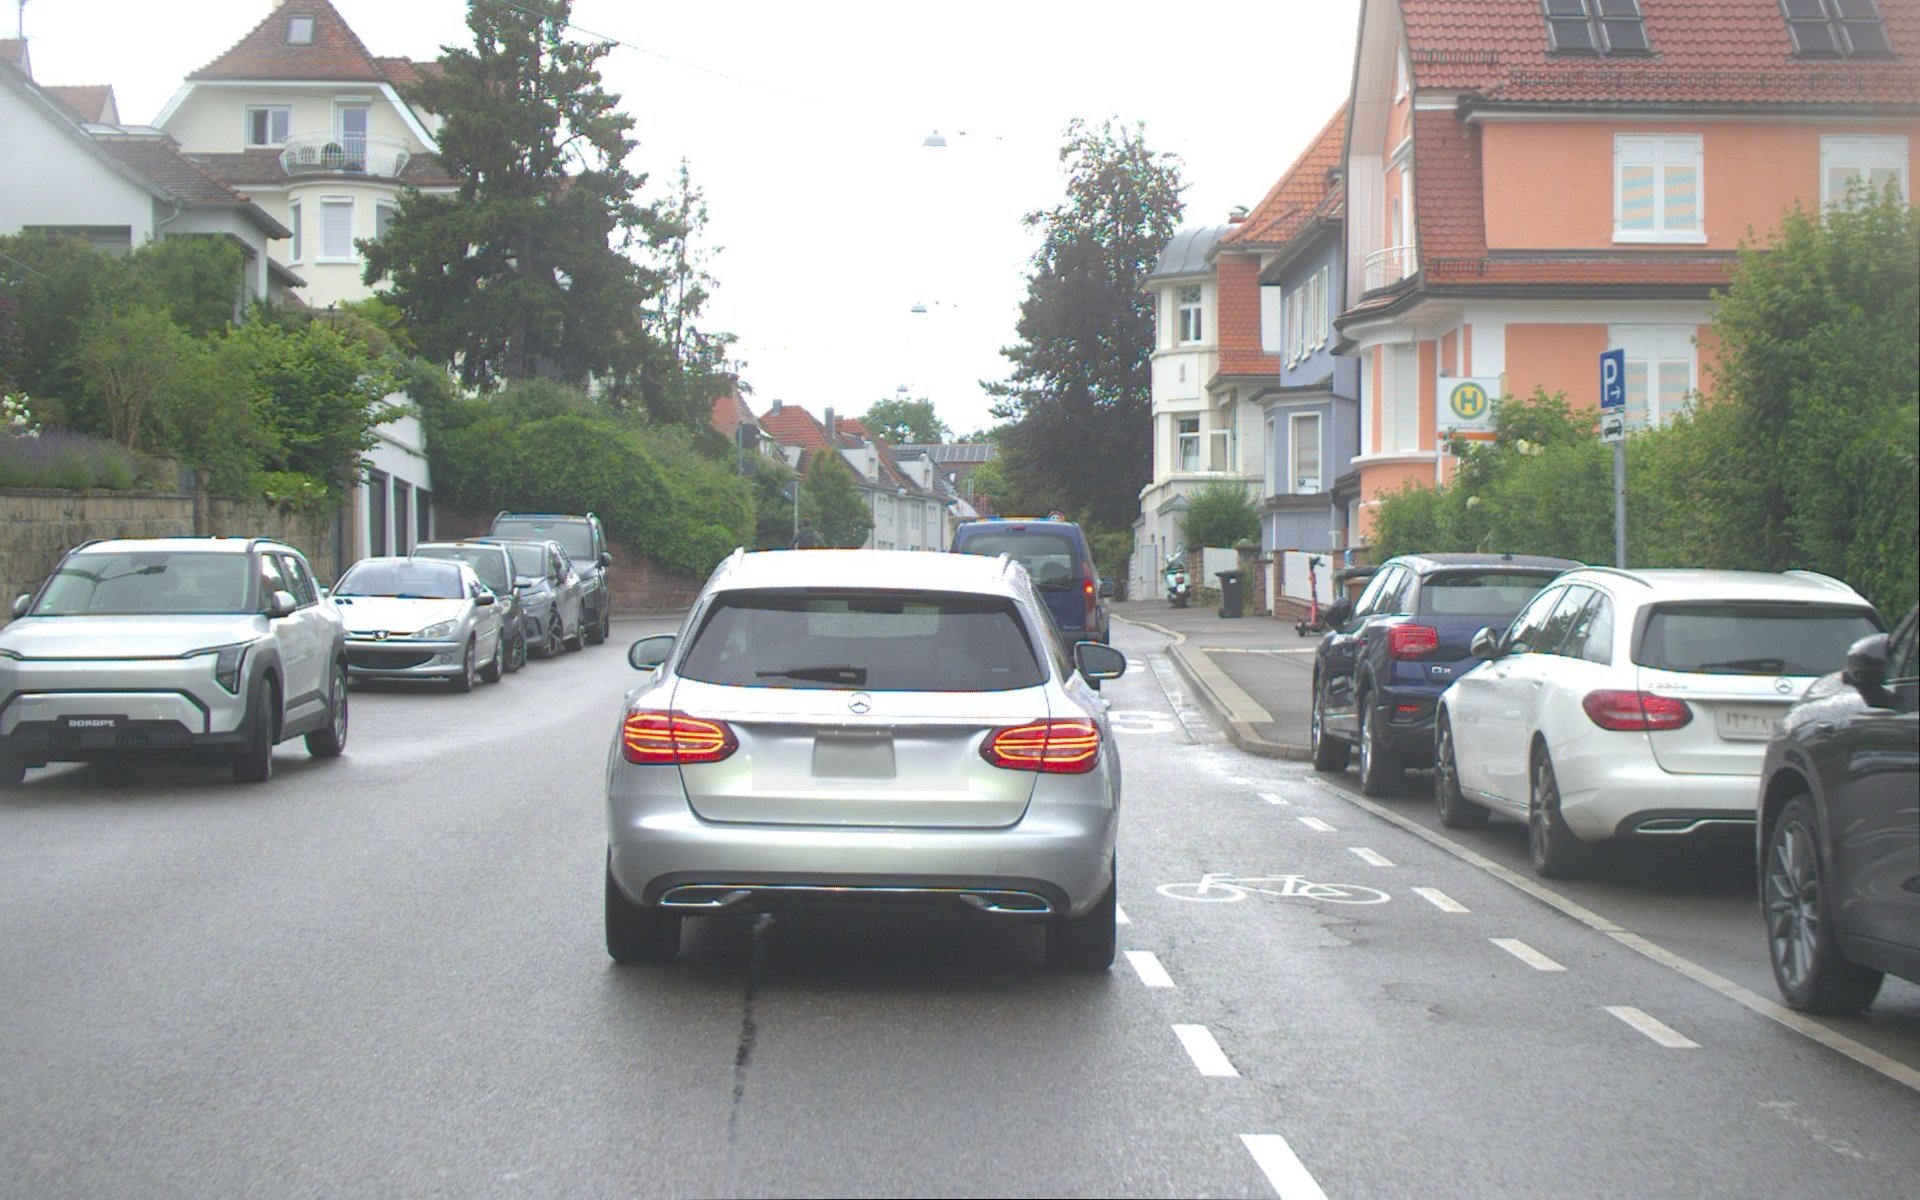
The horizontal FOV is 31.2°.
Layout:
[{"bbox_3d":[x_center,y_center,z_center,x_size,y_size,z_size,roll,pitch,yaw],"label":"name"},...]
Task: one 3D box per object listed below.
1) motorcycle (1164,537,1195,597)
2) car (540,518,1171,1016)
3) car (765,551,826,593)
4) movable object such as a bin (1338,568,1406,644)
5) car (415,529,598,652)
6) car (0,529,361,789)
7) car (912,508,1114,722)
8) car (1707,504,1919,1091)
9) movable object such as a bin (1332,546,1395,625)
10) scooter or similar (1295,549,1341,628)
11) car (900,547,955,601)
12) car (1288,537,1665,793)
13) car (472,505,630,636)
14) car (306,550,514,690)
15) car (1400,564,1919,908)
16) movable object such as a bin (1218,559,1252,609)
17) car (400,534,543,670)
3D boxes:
[{"bbox_3d":[4.863,-0.745,76.316,0.582,1.257,2.331,-2,1,2],"label":"motorcycle"},{"bbox_3d":[-0.309,0.475,13.001,1.982,1.548,4.298,0,2,1],"label":"car"},{"bbox_3d":[-5.986,-1.031,125.516,2.117,1.466,4.017,0,1,-2],"label":"car"},{"bbox_3d":[5.398,0.074,45.065,0.569,0.965,0.670,0,2,-33],"label":"movable object such as a bin"},{"bbox_3d":[-5.976,-0.160,45.746,1.898,1.510,4.343,1,2,-1],"label":"car"},{"bbox_3d":[-5.407,0.328,23.519,1.898,1.562,4.238,-1,2,-1],"label":"car"},{"bbox_3d":[0.577,0.093,35.286,1.824,1.876,4.095,-4,2,2],"label":"car"},{"bbox_3d":[3.653,0.561,9.817,1.887,1.657,4.549,0,2,-2],"label":"car"},{"bbox_3d":[5.515,-0.202,47.010,0.711,1.026,0.757,-2,1,-2],"label":"movable object such as a bin"},{"bbox_3d":[5.693,-0.197,54.686,0.693,1.220,1.299,0,2,7],"label":"scooter or similar"},{"bbox_3d":[-1.584,-1.279,167.724,2.467,2.391,4.000,-4,1,0],"label":"car"},{"bbox_3d":[3.287,0.349,22.636,1.754,1.525,4.206,0,1,-1],"label":"car"},{"bbox_3d":[-6.086,-0.489,51.755,2.129,1.853,5.595,0,1,-4],"label":"car"},{"bbox_3d":[-5.752,0.173,36.302,1.609,1.333,3.841,0,2,-1],"label":"car"},{"bbox_3d":[3.406,0.564,17.178,1.713,1.400,4.608,0,2,-1],"label":"car"},{"bbox_3d":[5.317,-0.313,66.587,0.549,0.932,0.634,-4,1,0],"label":"movable object such as a bin"},{"bbox_3d":[-5.804,-0.012,41.078,1.496,1.518,3.160,0,2,-5],"label":"car"}]
